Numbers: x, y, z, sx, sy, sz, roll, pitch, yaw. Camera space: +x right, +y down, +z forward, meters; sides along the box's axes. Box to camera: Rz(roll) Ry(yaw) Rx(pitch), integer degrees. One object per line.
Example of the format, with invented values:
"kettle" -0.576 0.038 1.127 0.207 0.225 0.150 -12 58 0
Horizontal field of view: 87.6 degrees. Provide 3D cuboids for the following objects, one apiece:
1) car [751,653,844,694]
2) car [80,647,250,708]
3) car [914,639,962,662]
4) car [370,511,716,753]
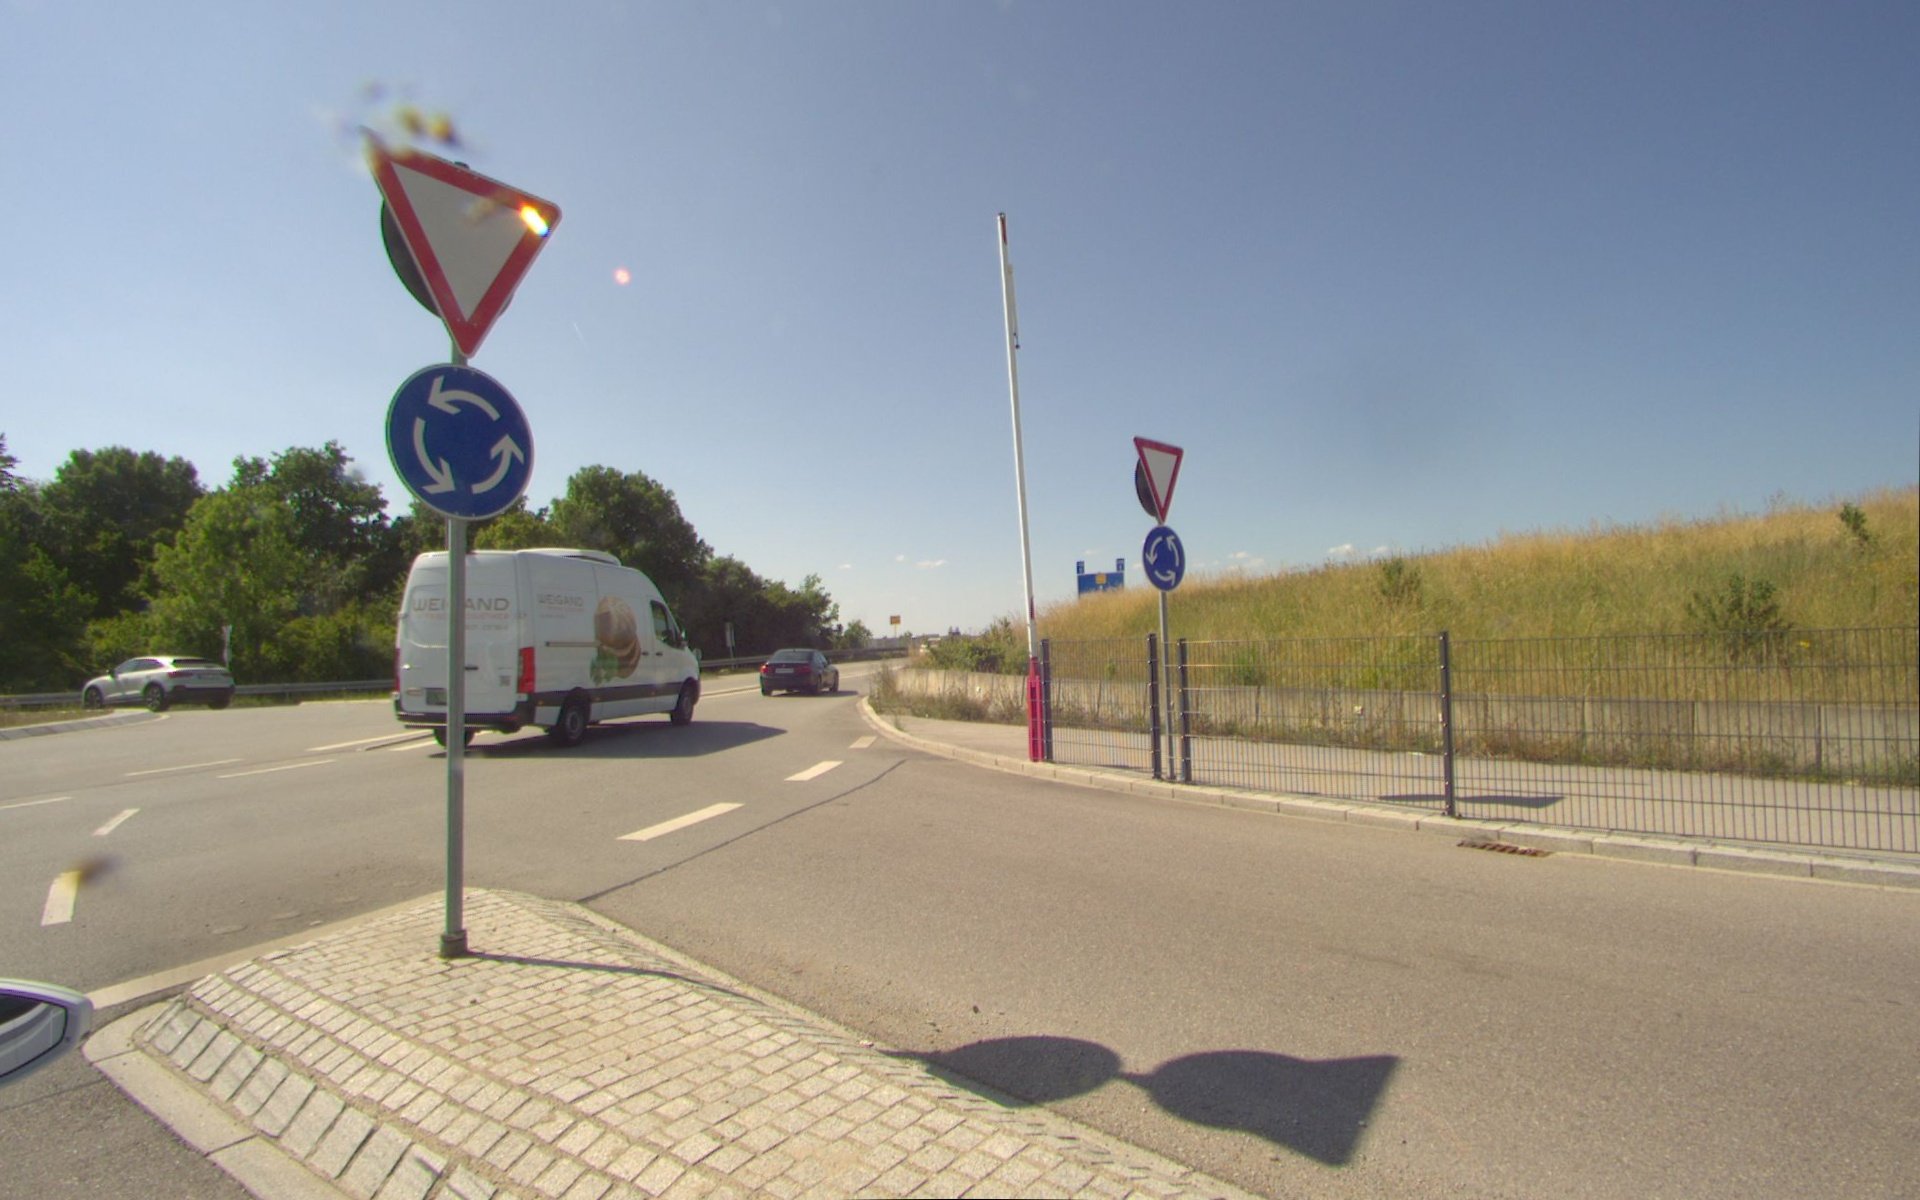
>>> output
"car" -5.054 2.287 31.665 1.645 1.197 3.865 -1 -3 12
"car" -22.622 2.177 28.508 4.250 1.616 1.844 -2 -2 21
"car" -1.423 3.339 66.564 1.760 1.422 4.410 -1 -3 19
"car" -5.924 0.541 15.425 2.044 2.957 6.141 -1 -3 8
